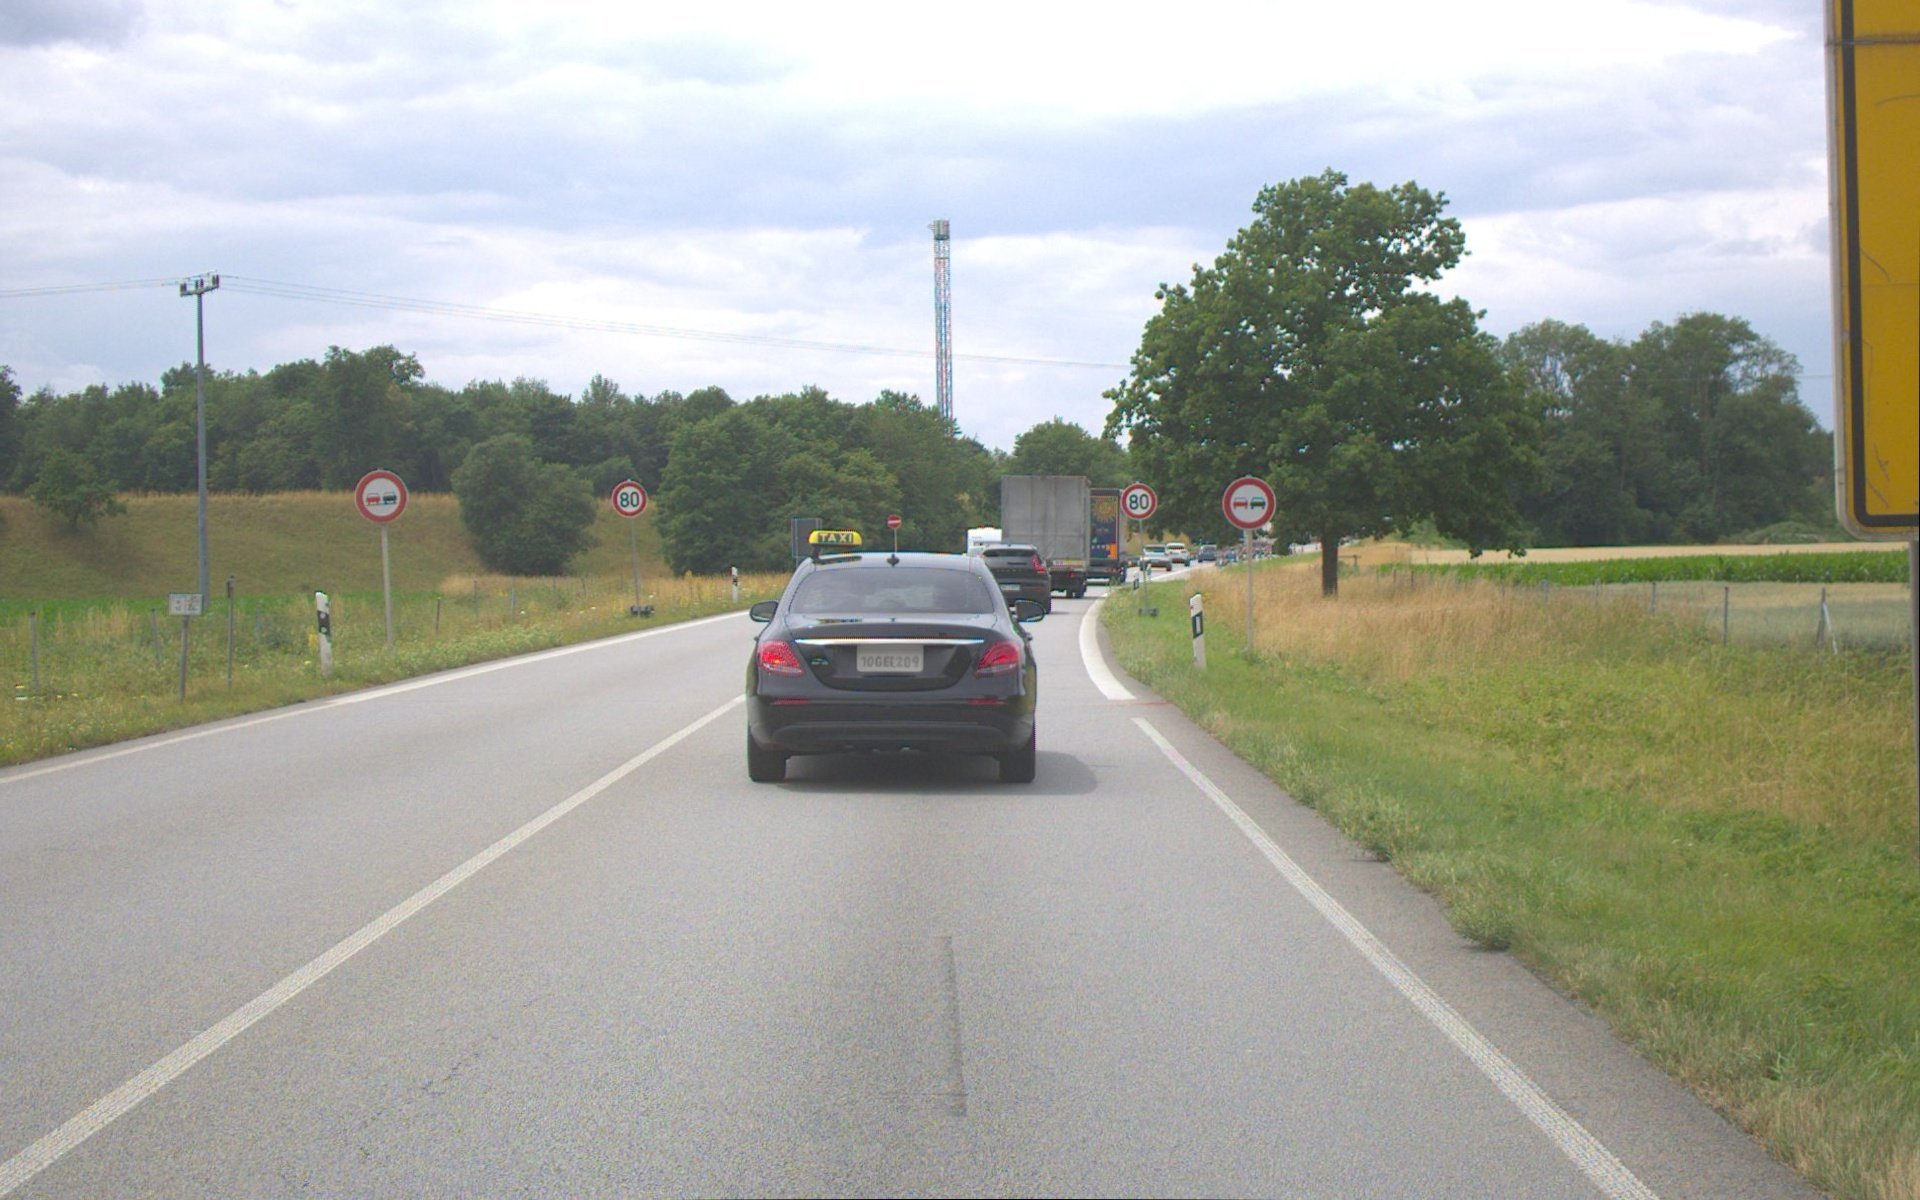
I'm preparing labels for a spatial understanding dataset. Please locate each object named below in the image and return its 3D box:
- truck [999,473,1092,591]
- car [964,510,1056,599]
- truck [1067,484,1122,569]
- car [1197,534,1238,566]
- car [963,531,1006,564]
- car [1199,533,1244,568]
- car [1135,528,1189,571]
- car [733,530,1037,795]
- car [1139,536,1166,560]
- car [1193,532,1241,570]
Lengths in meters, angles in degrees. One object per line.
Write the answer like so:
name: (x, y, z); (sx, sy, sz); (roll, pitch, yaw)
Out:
truck: (2.665, -2.072, 105.947); (2.587, 3.512, 4.812); (1, 0, 4)
car: (1.157, -1.059, 81.232); (1.993, 2.007, 4.000); (1, 1, -1)
truck: (5.685, -3.094, 145.598); (1.993, 3.513, 4.592); (1, 0, -1)
car: (13.854, -2.669, 184.812); (1.795, 1.657, 4.000); (1, 1, -1)
car: (1.264, -2.686, 176.106); (2.006, 1.652, 4.327); (1, 1, 2)
car: (13.006, -2.443, 171.024); (1.795, 1.657, 4.000); (1, 1, -1)
car: (8.015, -2.000, 136.591); (1.795, 1.657, 4.000); (1, 1, -1)
car: (-0.492, 0.358, 22.680); (1.795, 1.554, 4.000); (1, 1, -1)
car: (11.996, -3.232, 214.449); (1.649, 1.391, 3.705); (1, 1, 3)
car: (11.655, -2.211, 156.093); (1.795, 1.657, 4.000); (1, 1, -1)
